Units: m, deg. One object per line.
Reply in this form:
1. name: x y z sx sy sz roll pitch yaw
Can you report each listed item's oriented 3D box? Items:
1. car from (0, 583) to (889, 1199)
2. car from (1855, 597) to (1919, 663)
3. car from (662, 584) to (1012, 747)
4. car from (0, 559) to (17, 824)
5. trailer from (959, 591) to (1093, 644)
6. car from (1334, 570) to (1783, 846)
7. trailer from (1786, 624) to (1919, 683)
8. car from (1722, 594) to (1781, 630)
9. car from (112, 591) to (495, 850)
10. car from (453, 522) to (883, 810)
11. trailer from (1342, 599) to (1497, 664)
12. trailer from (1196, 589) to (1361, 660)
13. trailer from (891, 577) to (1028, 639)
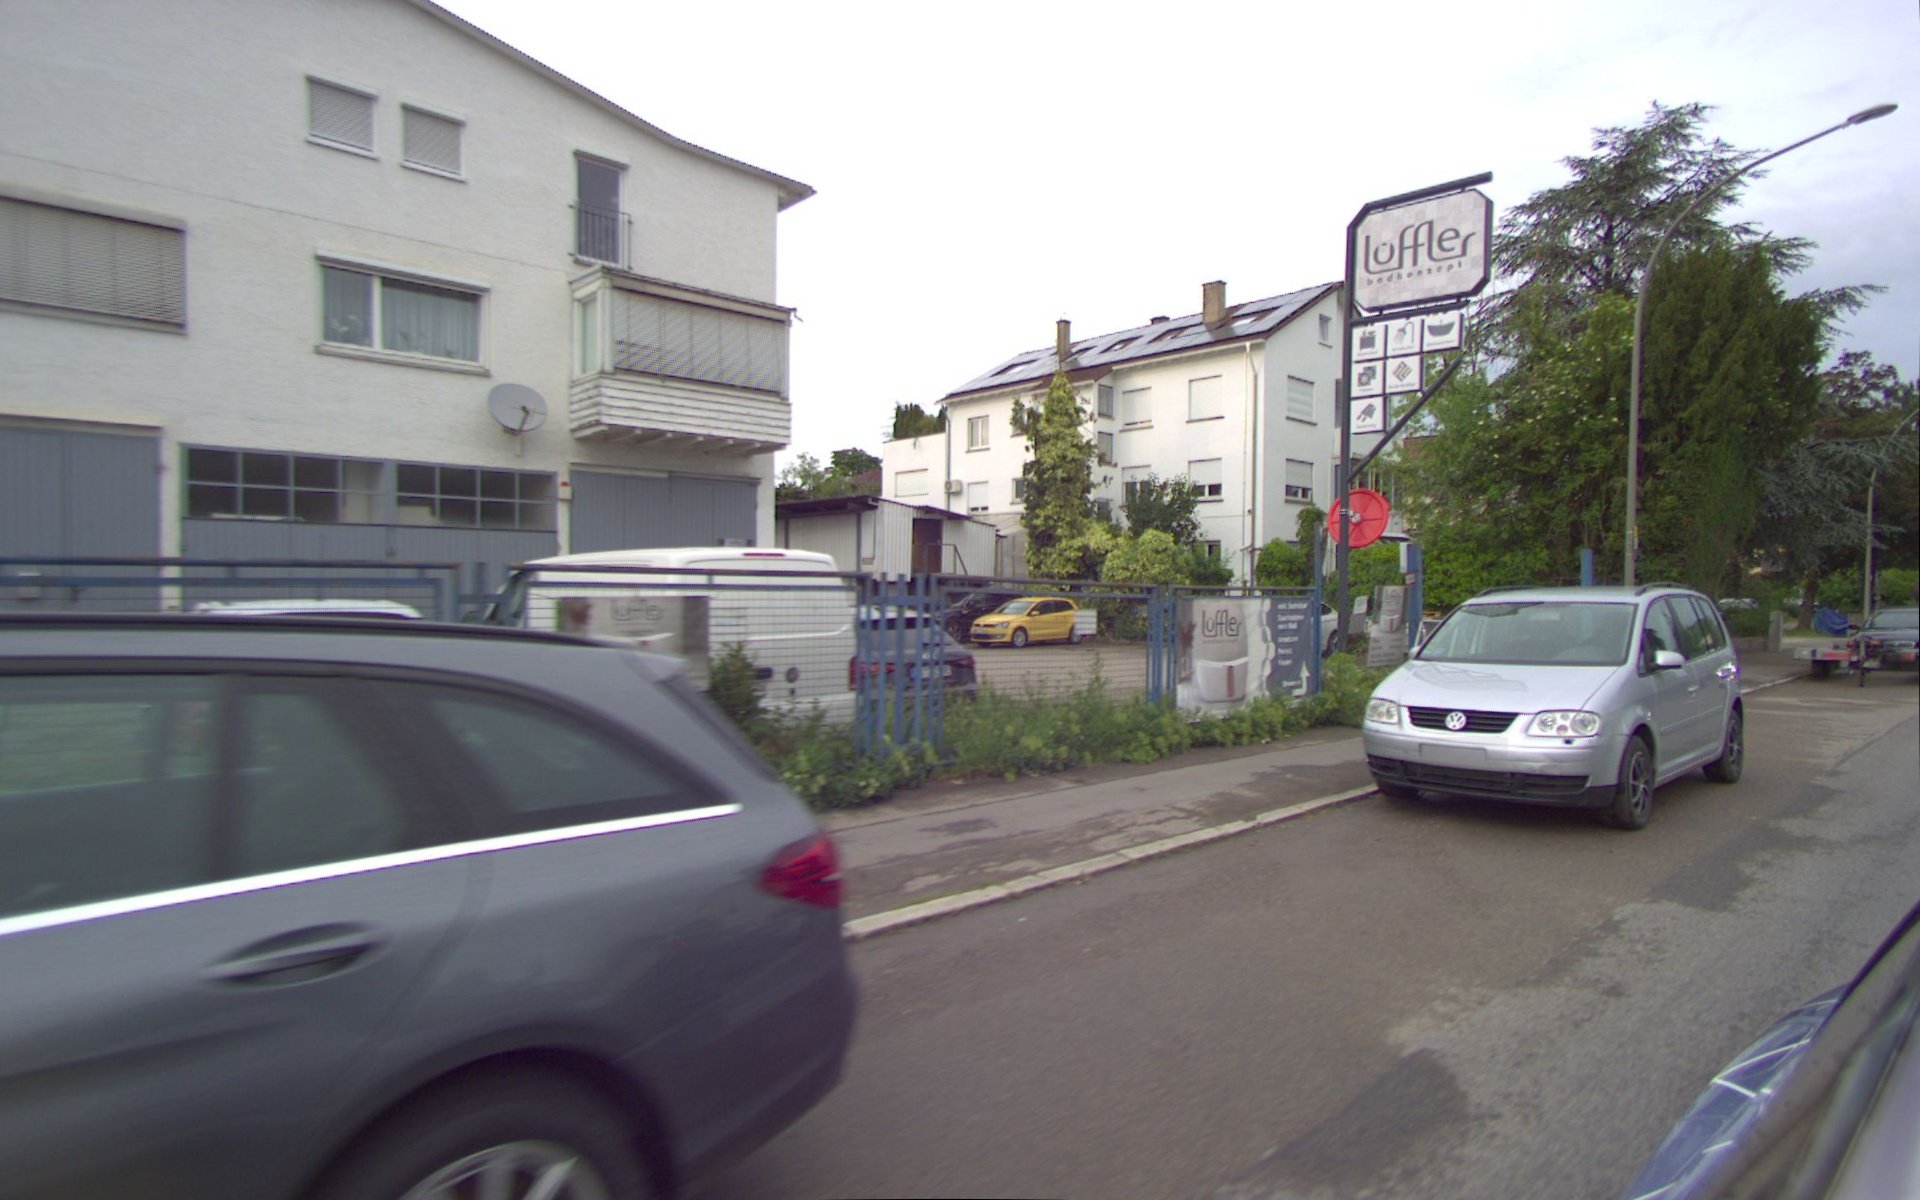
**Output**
1. car: -2.382 0.729 1.419 4.469 1.485 1.740 0 0 -43
2. car: 22.922 0.663 24.077 4.566 1.451 1.743 0 -1 -40
3. car: -1.541 0.595 11.375 1.965 1.475 4.110 0 0 -41
4. car: -7.057 0.576 6.120 1.861 1.645 4.451 0 0 -42
5. trailer: 2.028 0.480 30.227 4.024 1.483 1.643 0 0 -41
6. car: 4.926 0.628 8.068 4.295 1.642 1.742 0 0 -40
7. trailer: 18.161 0.969 19.765 6.521 0.908 2.177 0 -1 -42
8. car: 35.589 0.489 45.468 1.744 1.507 4.054 1 1 43
9. car: -5.176 0.648 7.687 1.818 1.396 4.326 0 0 -42
10. car: -2.891 0.435 9.165 1.965 1.910 4.739 0 0 -41
11. trailer: 10.257 0.635 22.497 3.821 1.291 1.619 0 1 -39
12. trailer: 7.785 0.513 24.476 4.726 1.539 1.770 0 1 -44
13. trailer: 0.044 0.215 32.246 1.993 1.836 4.336 -1 0 43
